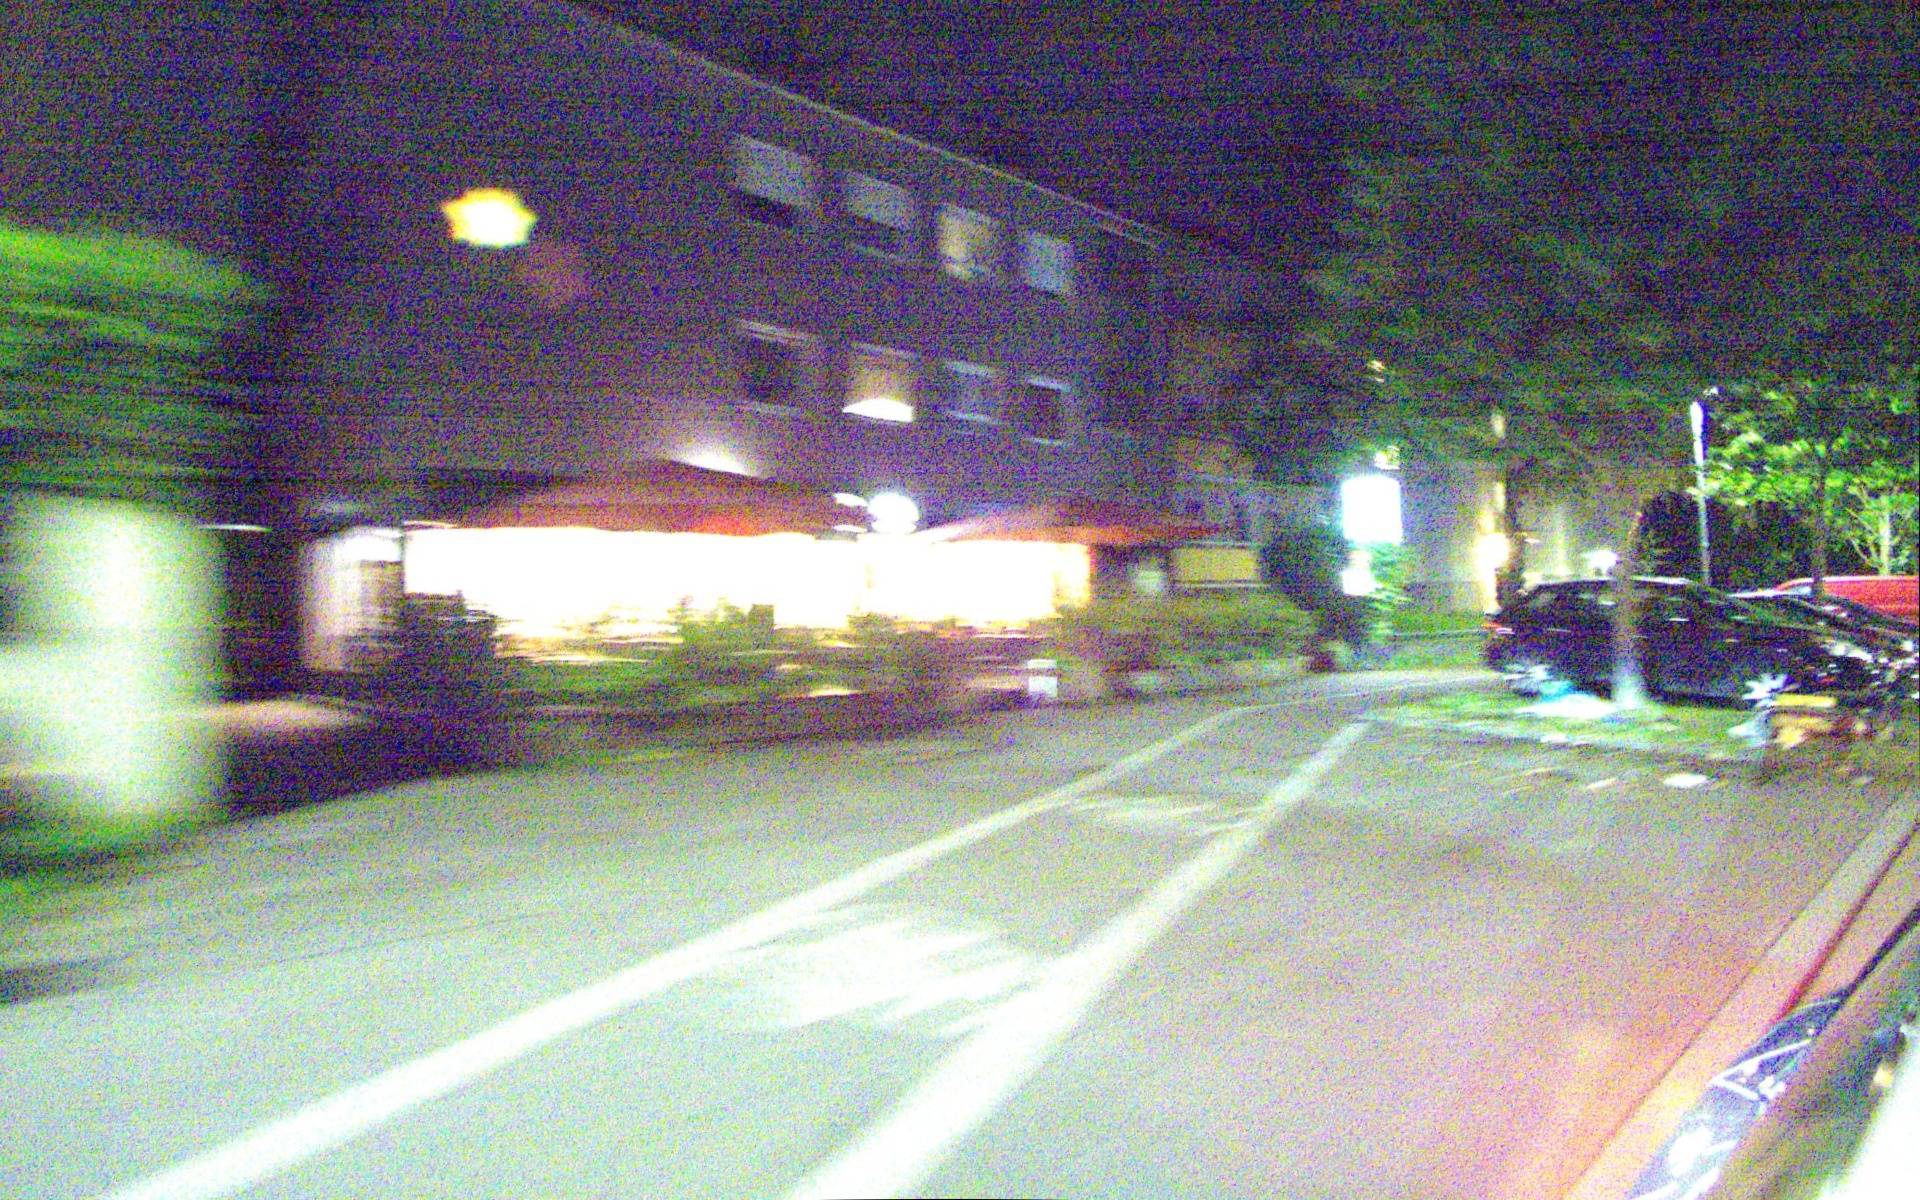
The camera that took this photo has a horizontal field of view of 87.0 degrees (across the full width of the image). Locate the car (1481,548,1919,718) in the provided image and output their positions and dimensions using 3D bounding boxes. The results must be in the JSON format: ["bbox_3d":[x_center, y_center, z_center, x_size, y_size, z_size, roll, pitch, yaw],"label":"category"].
[{"bbox_3d":[9.538,0.334,13.316,1.993,1.839,4.368,0,0,-36],"label":"car"}]

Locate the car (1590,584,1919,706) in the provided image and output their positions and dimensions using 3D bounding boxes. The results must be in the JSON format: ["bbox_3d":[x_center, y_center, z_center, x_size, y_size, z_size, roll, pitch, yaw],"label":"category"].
[{"bbox_3d":[11.522,0.542,14.518,1.824,1.533,3.919,0,0,-44],"label":"car"}]

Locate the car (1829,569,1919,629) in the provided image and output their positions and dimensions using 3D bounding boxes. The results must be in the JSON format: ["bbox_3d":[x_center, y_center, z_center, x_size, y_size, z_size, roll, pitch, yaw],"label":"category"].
[{"bbox_3d":[35.034,-0.036,36.679,2.221,2.123,5.150,0,0,-42],"label":"car"}]

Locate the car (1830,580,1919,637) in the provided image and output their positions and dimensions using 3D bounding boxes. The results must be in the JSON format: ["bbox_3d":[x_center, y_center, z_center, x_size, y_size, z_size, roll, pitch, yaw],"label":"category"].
[{"bbox_3d":[29.922,0.256,31.270,1.963,1.719,4.288,0,0,-37],"label":"car"}]

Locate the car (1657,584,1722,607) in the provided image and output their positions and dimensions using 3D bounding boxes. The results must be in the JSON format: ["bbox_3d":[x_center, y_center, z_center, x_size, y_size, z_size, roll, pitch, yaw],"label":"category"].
[{"bbox_3d":[50.207,-0.315,69.733,3.527,1.387,1.738,3,2,35],"label":"car"}]

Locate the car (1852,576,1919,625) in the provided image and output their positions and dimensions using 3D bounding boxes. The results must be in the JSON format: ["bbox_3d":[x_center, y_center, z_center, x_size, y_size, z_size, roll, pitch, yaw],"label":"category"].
[{"bbox_3d":[37.389,0.017,38.385,2.221,1.868,5.150,0,0,-42],"label":"car"}]

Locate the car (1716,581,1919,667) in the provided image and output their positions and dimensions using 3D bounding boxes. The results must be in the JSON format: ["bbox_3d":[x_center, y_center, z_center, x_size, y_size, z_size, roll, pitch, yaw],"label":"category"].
[{"bbox_3d":[17.663,0.421,20.055,1.951,1.571,3.927,0,0,-37],"label":"car"}]

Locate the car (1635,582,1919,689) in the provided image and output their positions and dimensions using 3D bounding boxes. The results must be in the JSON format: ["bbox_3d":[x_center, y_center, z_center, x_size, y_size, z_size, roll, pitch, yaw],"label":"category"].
[{"bbox_3d":[13.517,0.488,16.464,1.823,1.533,3.921,-2,1,-42],"label":"car"}]
